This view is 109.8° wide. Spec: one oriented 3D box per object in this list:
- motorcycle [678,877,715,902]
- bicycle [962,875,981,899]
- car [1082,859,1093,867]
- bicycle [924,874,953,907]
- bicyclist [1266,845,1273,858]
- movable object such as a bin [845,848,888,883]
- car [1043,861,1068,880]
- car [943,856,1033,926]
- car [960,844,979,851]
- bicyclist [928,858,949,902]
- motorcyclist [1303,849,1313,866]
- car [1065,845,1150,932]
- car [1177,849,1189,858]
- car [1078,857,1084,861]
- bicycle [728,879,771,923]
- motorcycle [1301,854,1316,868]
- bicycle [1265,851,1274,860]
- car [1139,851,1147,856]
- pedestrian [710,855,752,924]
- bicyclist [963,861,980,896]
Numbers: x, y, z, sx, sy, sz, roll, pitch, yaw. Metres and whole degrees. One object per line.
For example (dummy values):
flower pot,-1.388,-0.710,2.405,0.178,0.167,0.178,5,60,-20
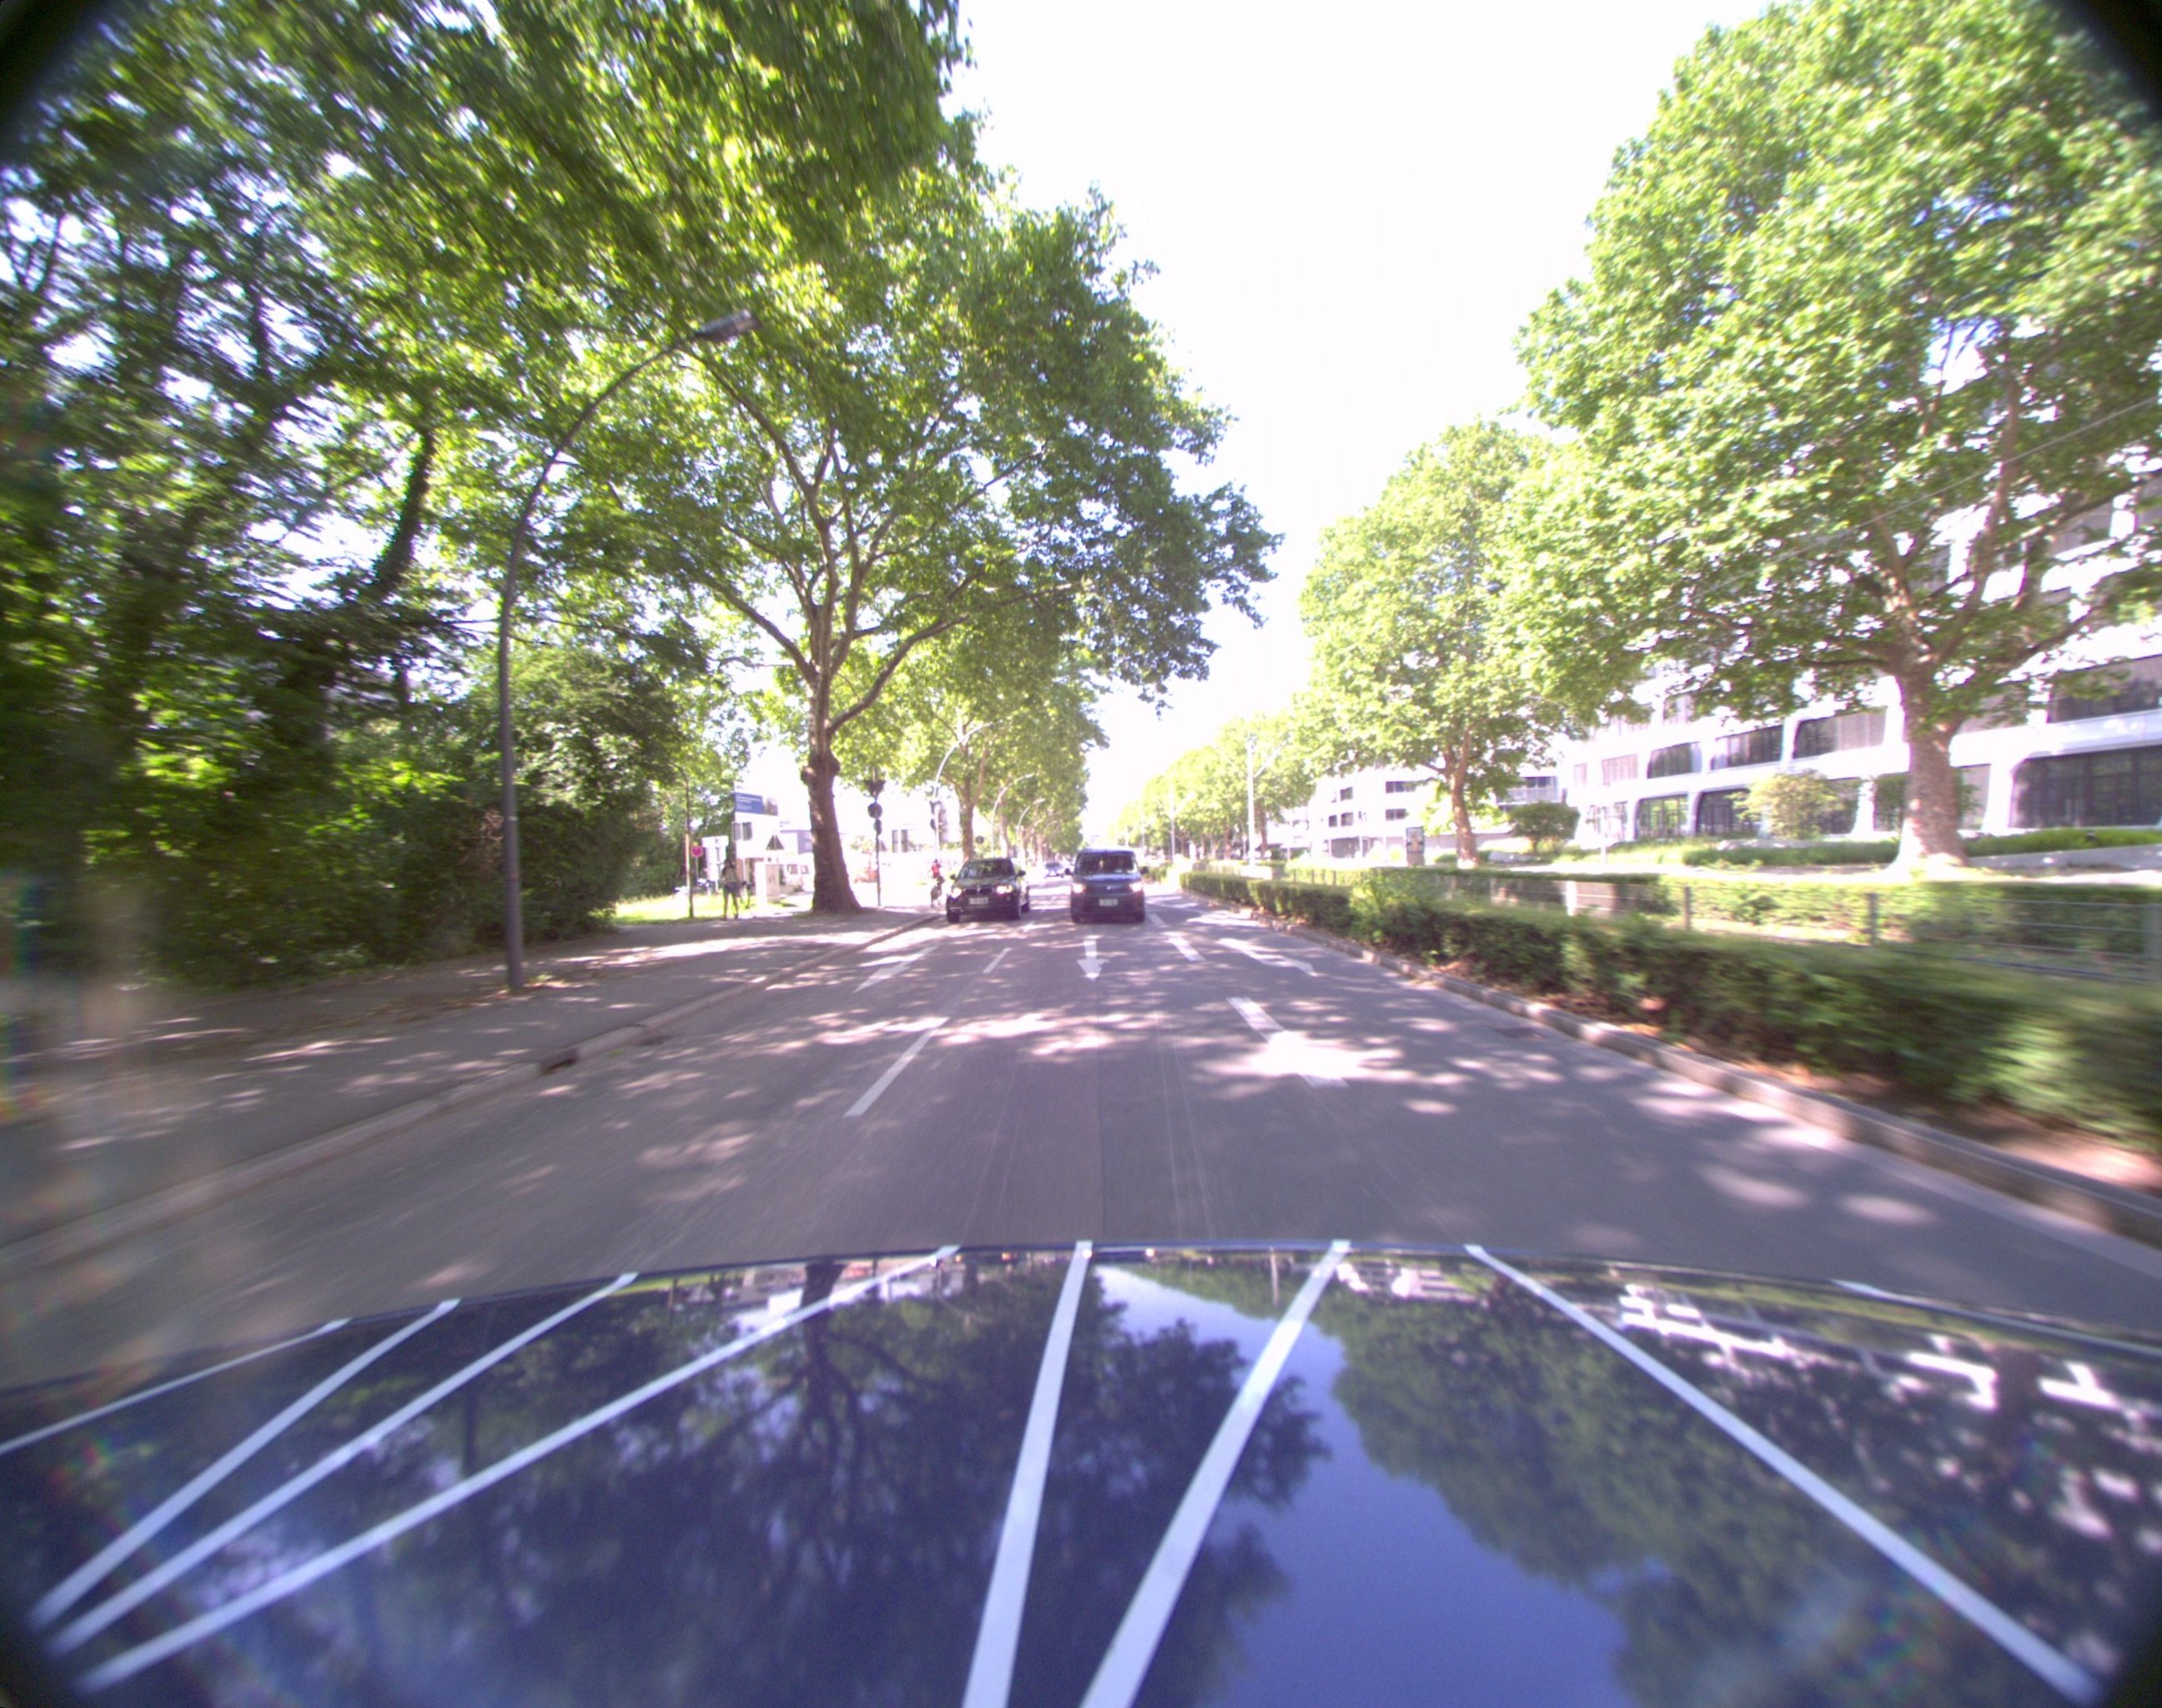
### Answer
motorcycle,-15.695,1.450,30.999,1.223,0.962,0.471,-2,0,-6
bicycle,-4.820,1.449,33.406,0.599,0.974,1.781,0,0,-1
car,1.155,1.619,137.166,1.854,1.418,4.152,-3,0,2
bicycle,-5.183,1.315,27.724,0.653,1.123,1.945,-1,0,0
bicyclist,22.778,-0.248,91.807,0.656,1.526,0.641,-3,0,2
movable object such as a bin,-19.885,1.050,70.843,2.375,3.053,5.984,-3,0,-2
car,-2.147,1.363,64.907,1.854,1.418,4.152,-3,0,2
car,-2.532,0.962,21.692,1.924,1.720,4.152,-3,0,1
car,-25.976,-1.445,177.243,3.998,1.501,1.808,-2,0,-2
bicyclist,-5.199,0.946,27.701,0.621,1.590,0.732,0,0,-1
motorcyclist,19.240,0.271,64.432,0.582,1.449,0.533,-2,0,1
car,0.628,0.749,18.418,1.789,1.839,4.000,-1,0,2
car,18.922,-0.054,141.475,1.761,1.560,4.019,-3,0,1
car,0.061,1.645,248.839,1.860,1.445,4.000,-2,0,-1
bicycle,-9.056,1.262,20.804,0.350,1.075,1.699,-3,0,1
motorcycle,19.280,0.569,64.359,0.634,1.168,2.000,-2,0,1
bicycle,22.802,0.160,91.885,0.665,1.117,2.031,-3,0,1
car,18.103,-0.241,222.025,1.820,1.482,3.912,0,0,-1
pedestrian,-9.441,0.941,20.509,0.633,1.775,0.874,-3,1,1
bicyclist,-4.812,1.061,33.407,0.600,1.481,1.215,1,0,-1
